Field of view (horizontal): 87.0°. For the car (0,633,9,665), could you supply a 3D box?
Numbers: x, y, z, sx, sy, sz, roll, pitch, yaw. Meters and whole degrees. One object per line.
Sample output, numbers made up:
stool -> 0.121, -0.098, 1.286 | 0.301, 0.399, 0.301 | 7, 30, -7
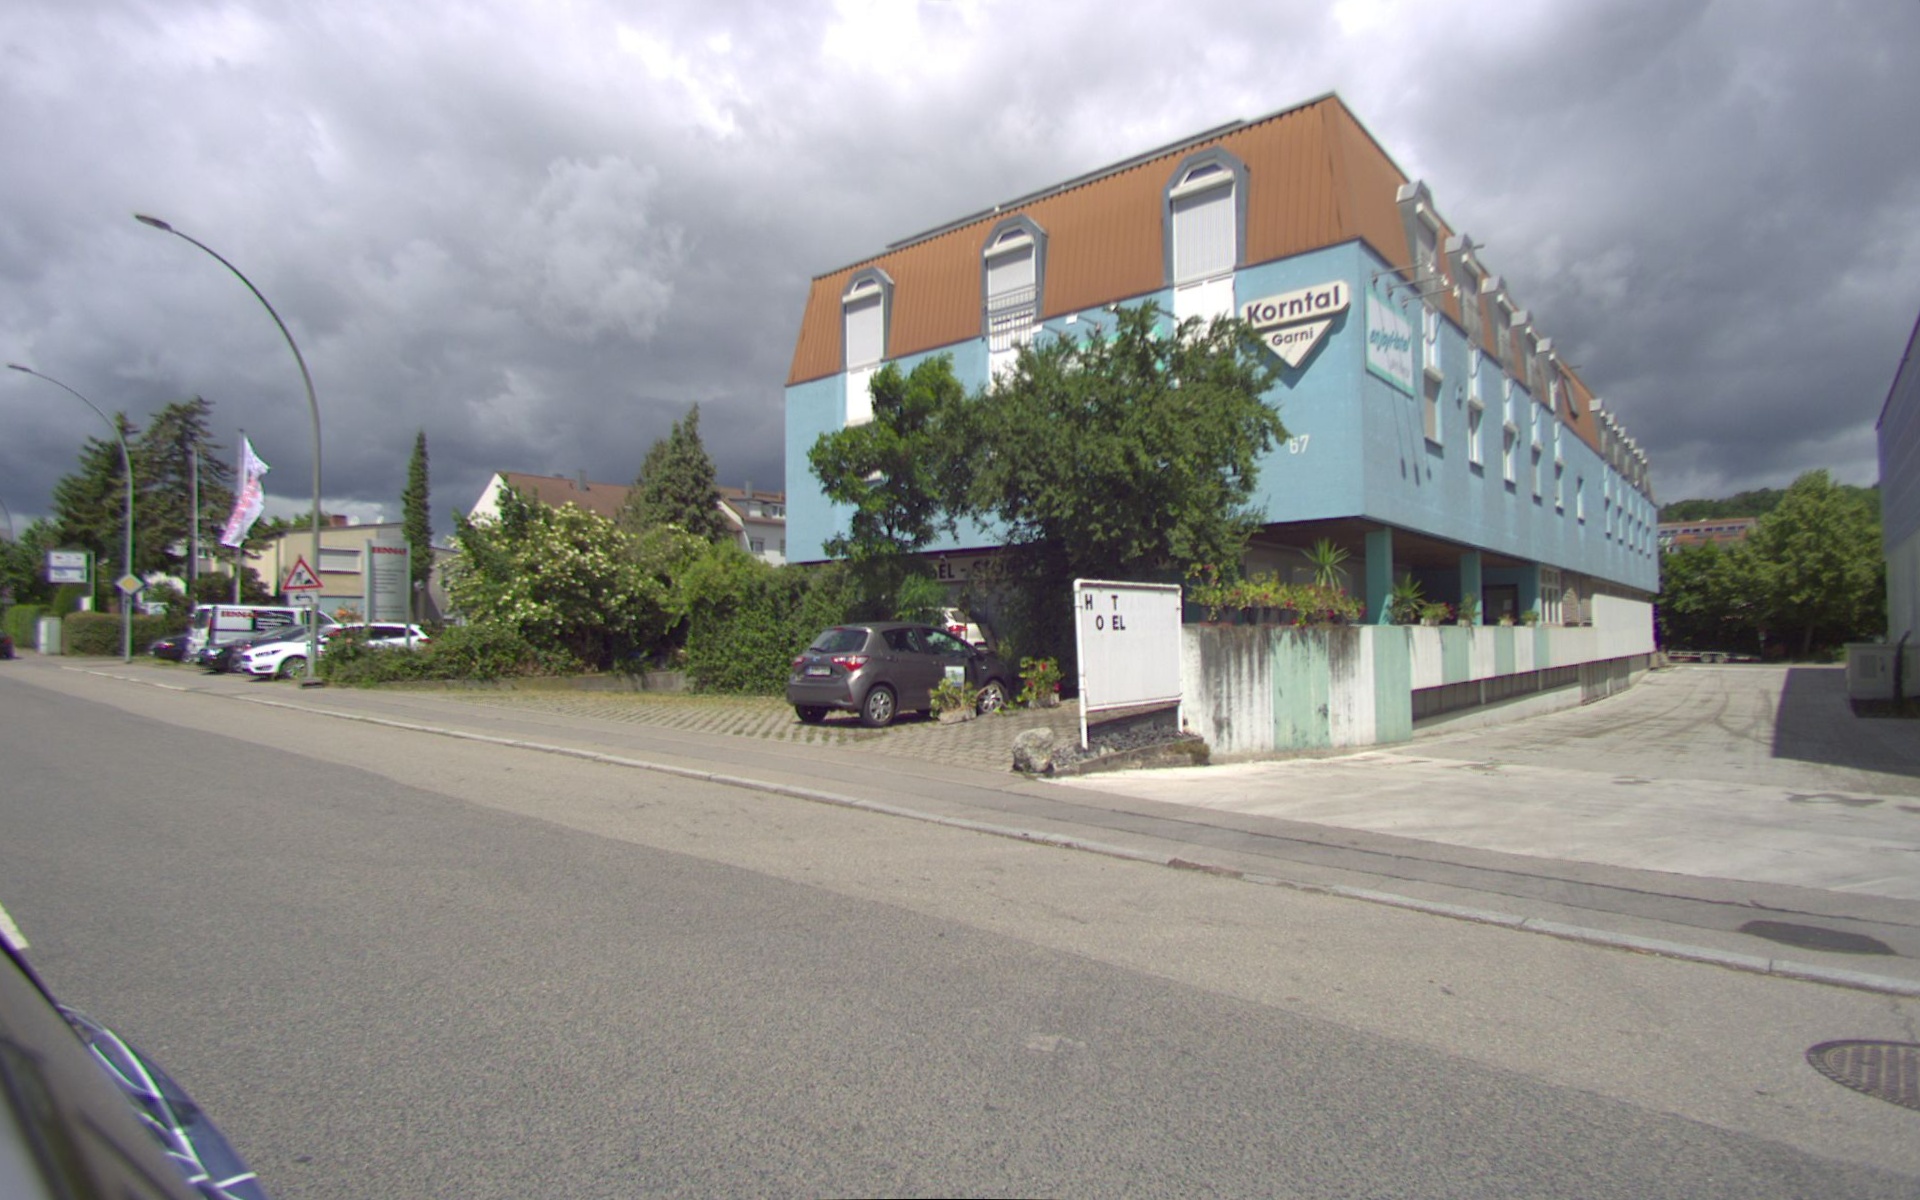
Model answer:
car -> -42.423, 2.079, 43.511 | 4.111, 1.314, 1.614 | -2, -5, 39

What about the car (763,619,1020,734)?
car -> -0.979, 1.075, 15.610 | 1.979, 1.544, 3.588 | -2, -2, 43

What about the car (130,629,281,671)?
car -> -26.726, 1.732, 35.935 | 1.869, 1.213, 3.948 | -2, 0, 39

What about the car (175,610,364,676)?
car -> -22.173, 1.361, 32.678 | 2.112, 1.987, 4.608 | -2, -2, 37

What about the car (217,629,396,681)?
car -> -18.572, 1.524, 28.874 | 1.871, 1.365, 3.943 | -2, -3, 43

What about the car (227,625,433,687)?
car -> -16.783, 1.430, 27.113 | 1.870, 1.489, 4.329 | 0, -1, 41

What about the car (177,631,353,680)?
car -> -20.554, 1.591, 30.033 | 1.869, 1.325, 3.947 | -1, -2, 39
